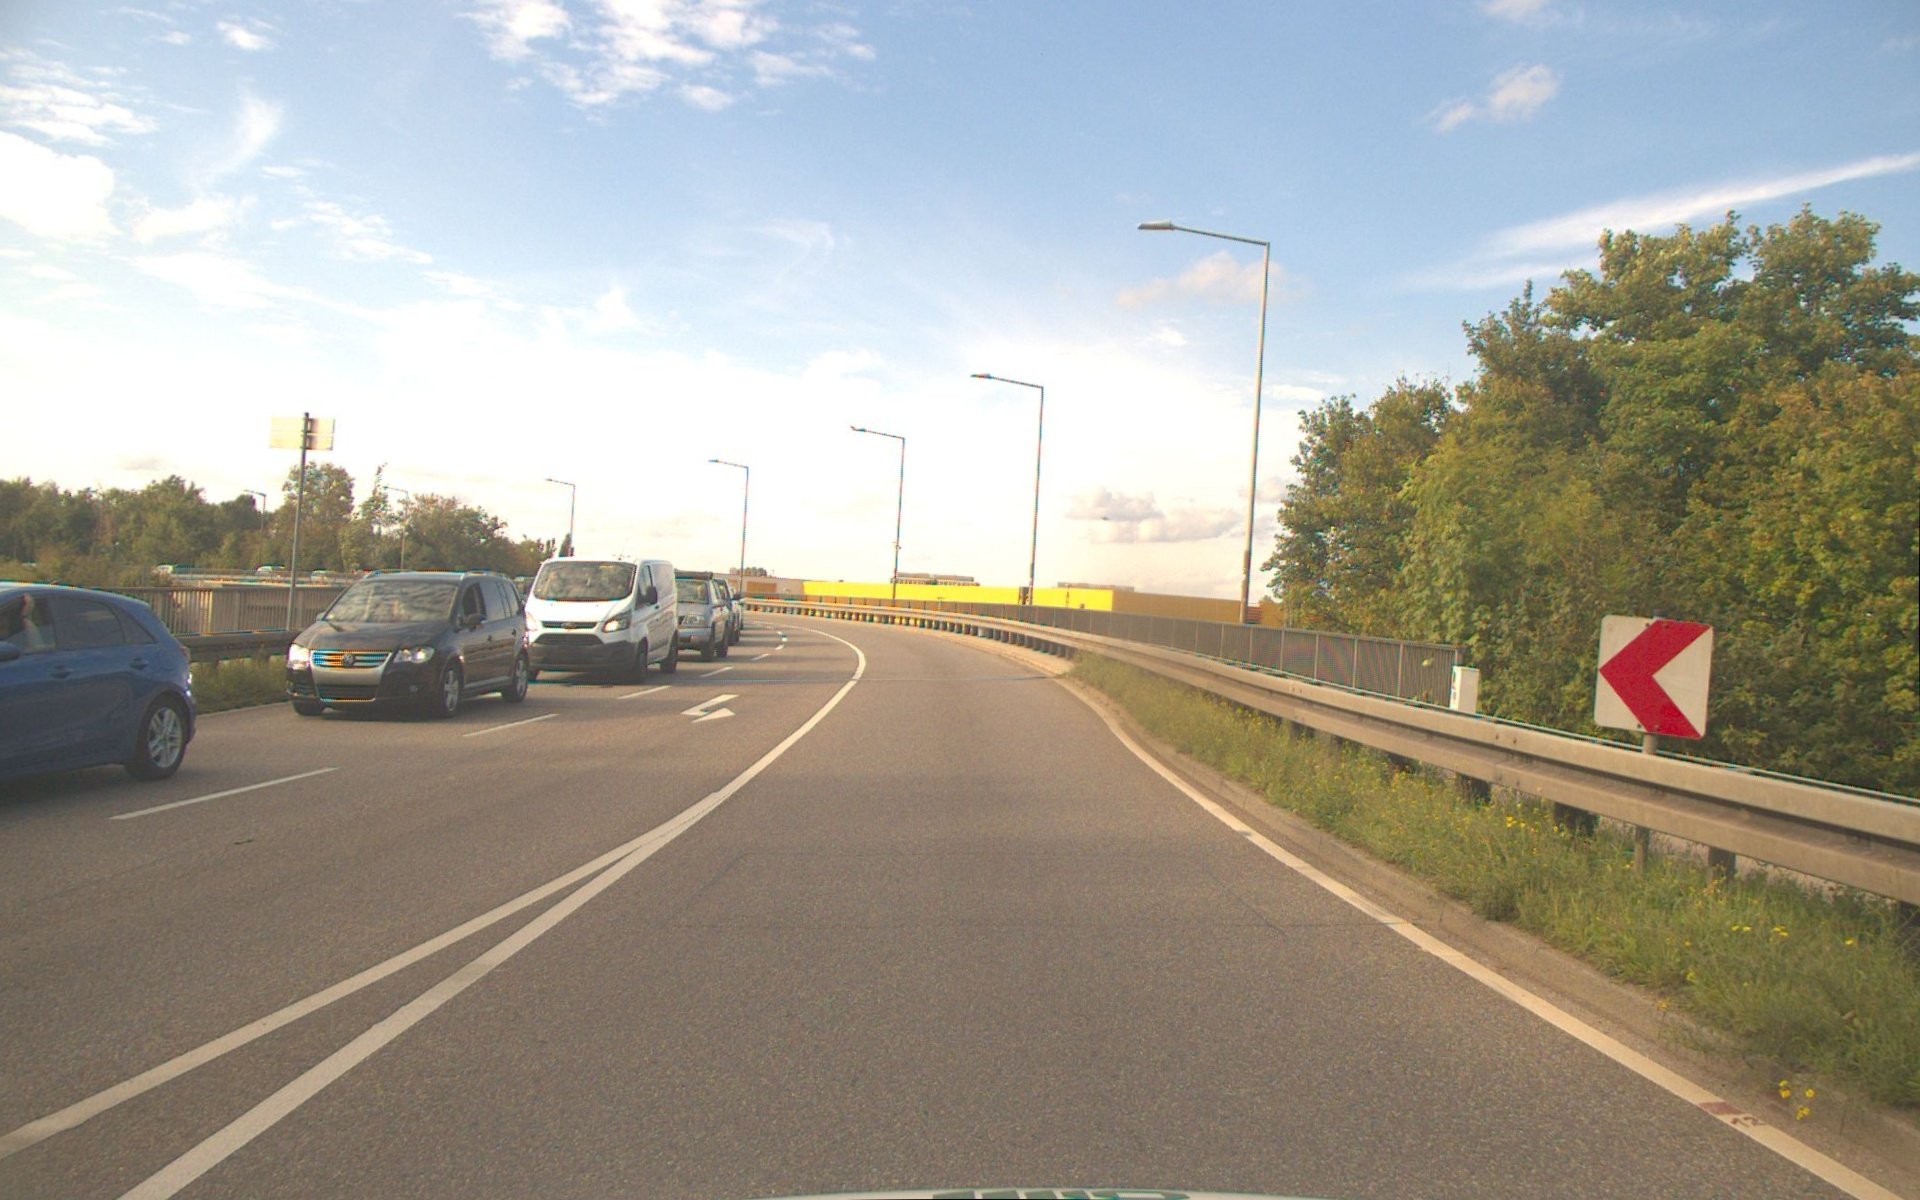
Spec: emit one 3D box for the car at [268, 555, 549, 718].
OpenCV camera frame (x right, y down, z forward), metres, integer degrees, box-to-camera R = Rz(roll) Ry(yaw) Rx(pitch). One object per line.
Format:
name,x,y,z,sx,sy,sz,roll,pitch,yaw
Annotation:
car,-6.380,0.392,19.702,1.710,1.683,4.453,1,0,2

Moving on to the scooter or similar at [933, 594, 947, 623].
scooter or similar,-0.836,0.336,68.811,0.261,1.182,1.184,1,0,-15

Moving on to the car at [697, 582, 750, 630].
car,-8.215,0.188,57.211,1.652,1.572,3.914,1,1,-10

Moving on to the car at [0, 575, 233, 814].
car,-6.849,0.575,10.952,1.853,1.473,4.363,1,1,5

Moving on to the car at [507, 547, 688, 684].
car,-5.804,0.200,27.130,1.945,1.998,5.046,1,1,-2

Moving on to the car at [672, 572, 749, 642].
car,-6.443,0.154,43.113,1.834,1.695,4.623,1,1,-7

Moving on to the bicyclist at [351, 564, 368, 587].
bicyclist,-44.350,-1.827,122.100,0.763,1.689,1.102,1,0,-45

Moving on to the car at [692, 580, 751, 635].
car,-7.299,0.203,50.456,1.652,1.572,3.914,1,1,-10

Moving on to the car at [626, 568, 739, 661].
car,-5.633,0.260,33.957,1.738,1.776,3.836,1,1,-2
